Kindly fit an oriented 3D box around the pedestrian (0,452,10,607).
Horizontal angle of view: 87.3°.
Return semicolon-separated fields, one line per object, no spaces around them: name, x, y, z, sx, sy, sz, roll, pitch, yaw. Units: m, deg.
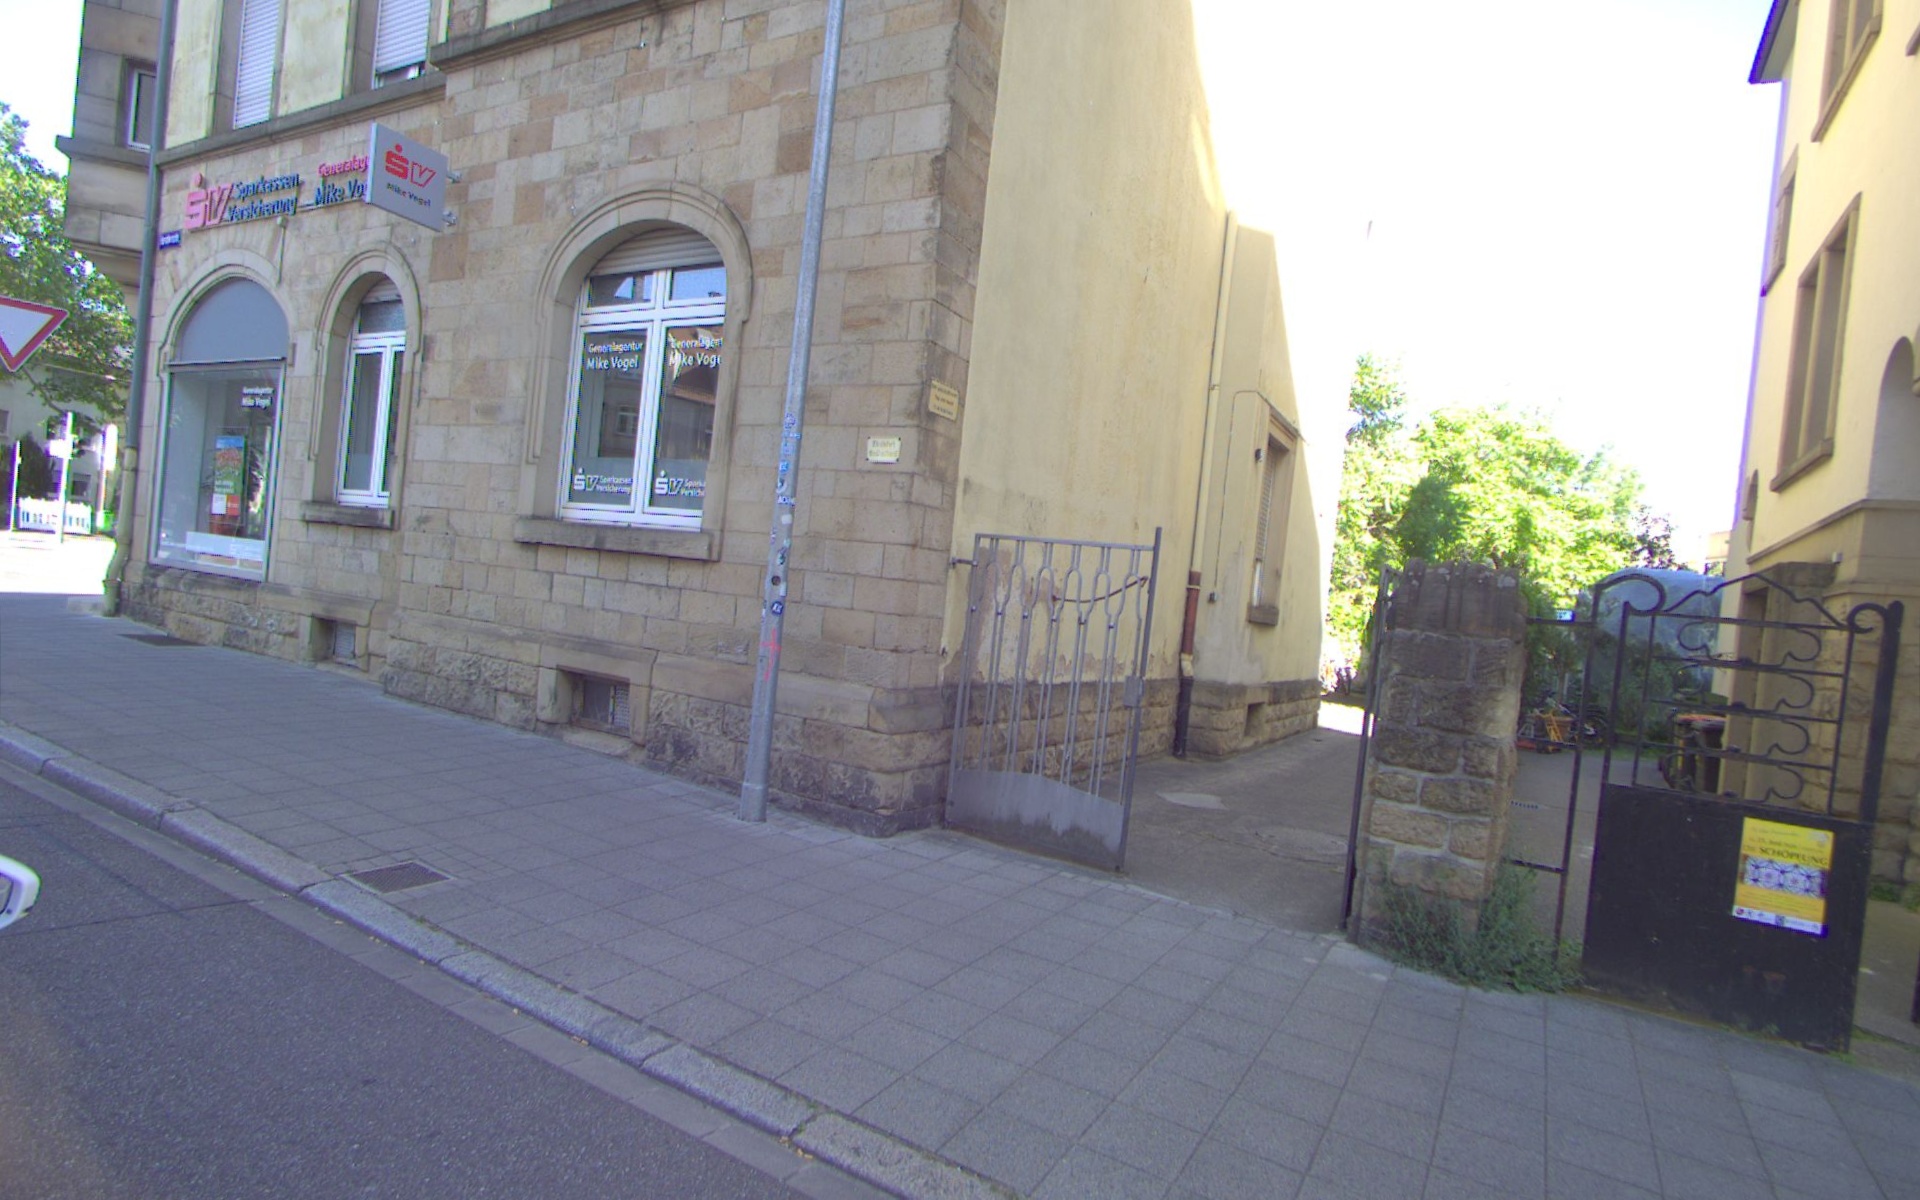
pedestrian;-12.026;-0.870;11.771;0.734;1.874;1.068;6;4;14

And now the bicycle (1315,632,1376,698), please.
bicycle;9.977;1.647;25.967;0.904;1.532;2.667;6;2;31

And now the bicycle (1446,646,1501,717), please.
bicycle;12.595;1.942;24.637;0.904;1.532;2.667;6;2;31

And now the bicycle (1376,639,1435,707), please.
bicycle;11.210;1.782;25.250;0.904;1.532;2.667;6;2;31
